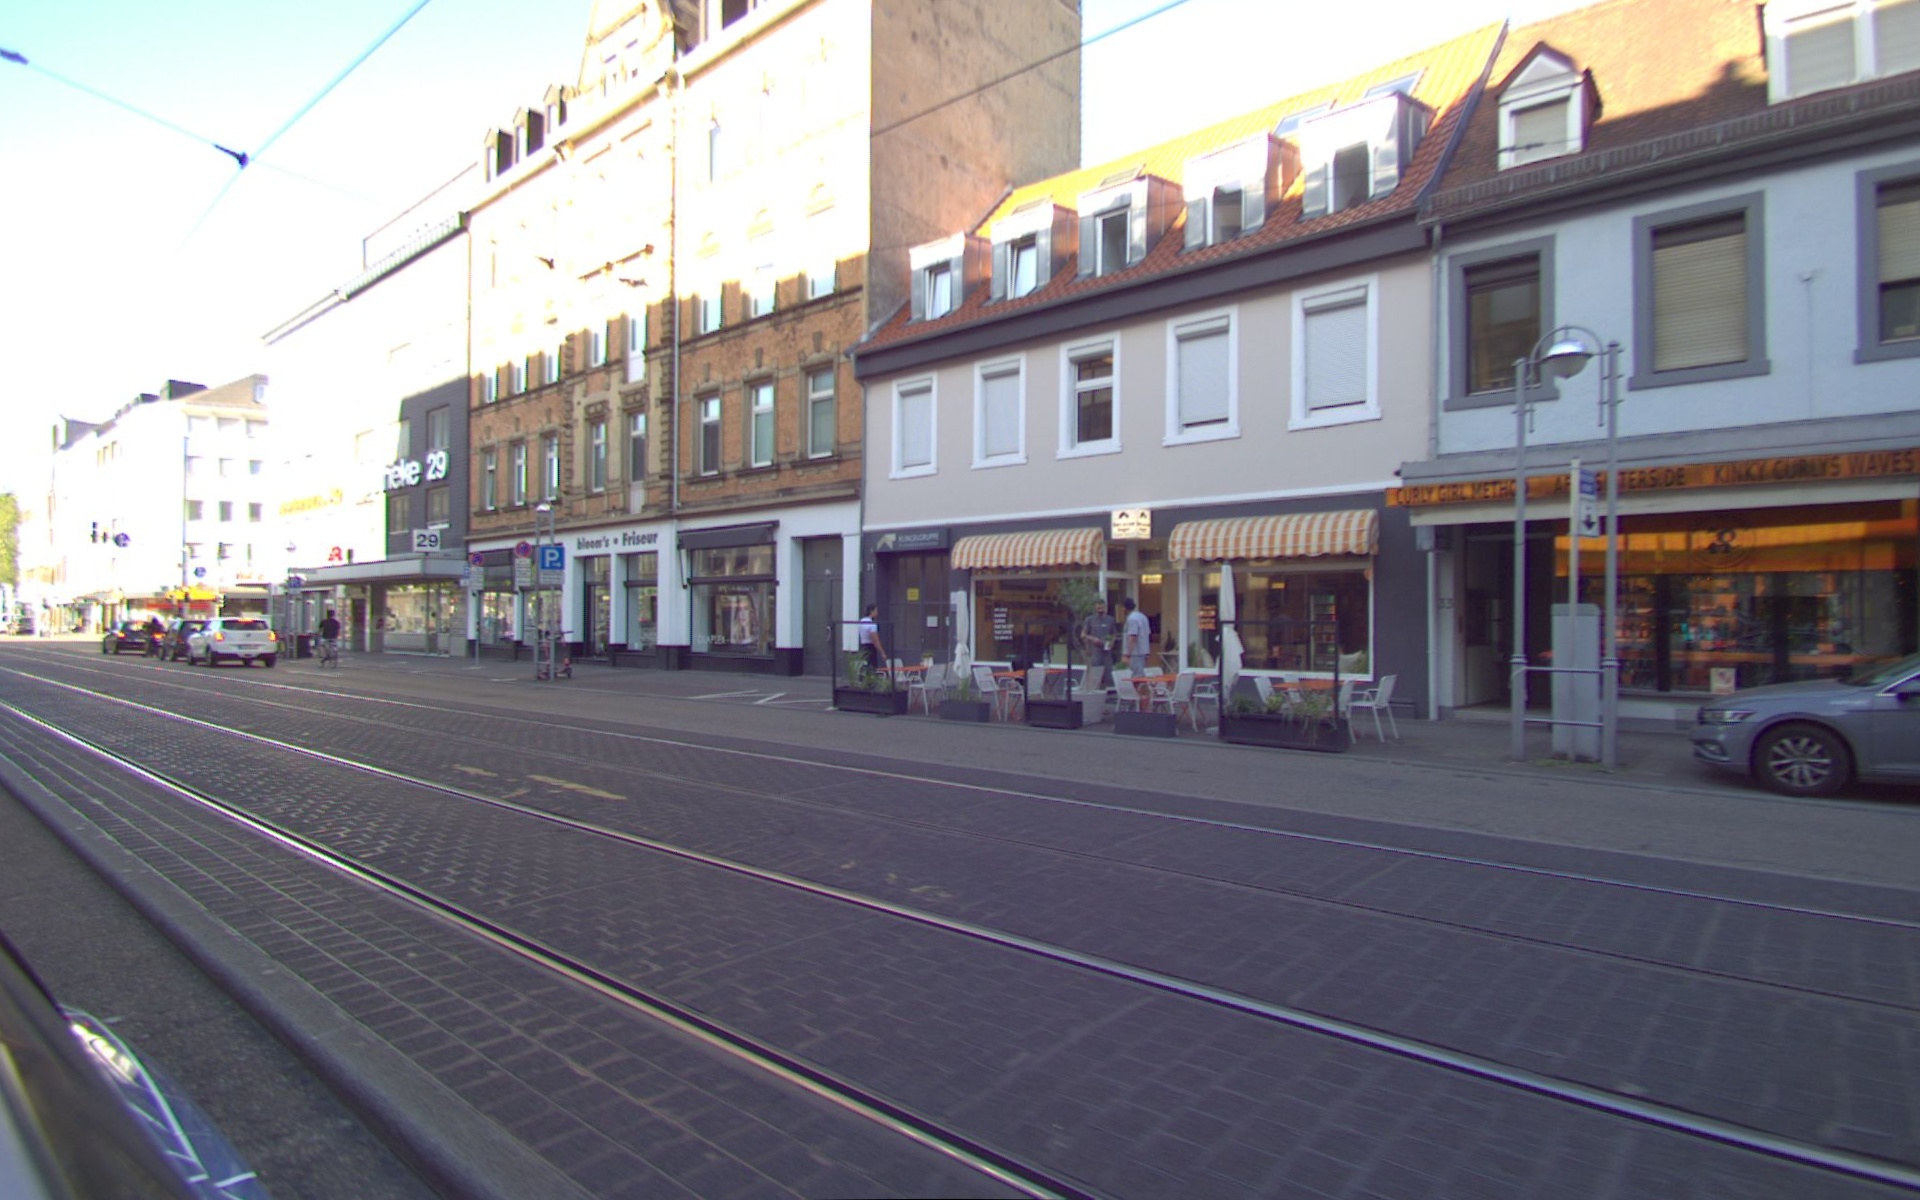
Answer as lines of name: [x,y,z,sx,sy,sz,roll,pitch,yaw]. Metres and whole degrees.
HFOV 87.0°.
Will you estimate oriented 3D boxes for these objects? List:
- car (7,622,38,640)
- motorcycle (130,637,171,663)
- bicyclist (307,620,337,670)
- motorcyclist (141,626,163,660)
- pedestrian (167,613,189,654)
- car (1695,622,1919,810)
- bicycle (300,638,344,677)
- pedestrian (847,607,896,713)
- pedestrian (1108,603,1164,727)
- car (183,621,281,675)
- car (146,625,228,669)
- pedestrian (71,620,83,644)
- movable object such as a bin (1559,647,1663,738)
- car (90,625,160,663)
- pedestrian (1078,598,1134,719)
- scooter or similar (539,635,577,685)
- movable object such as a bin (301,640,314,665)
car: [-83.480,2.762,90.103,3.462,1.544,1.609,-1,-4,41]
motorcycle: [-32.209,1.973,40.258,1.934,1.000,0.895,-1,-3,41]
bicyclist: [-20.309,1.411,32.208,0.861,1.558,0.569,-1,0,41]
motorcyclist: [-32.187,1.709,40.321,0.655,1.313,0.533,-1,-3,41]
pedestrian: [-36.477,1.556,47.197,0.635,1.855,0.696,-1,0,41]
car: [9.149,0.964,8.428,4.760,1.526,1.798,-1,-1,41]
bicycle: [-20.329,1.803,32.226,2.099,1.157,0.602,-1,0,41]
pedestrian: [-1.571,1.049,18.004,0.572,1.819,0.660,-1,0,-37]
pedestrian: [2.617,0.944,15.025,0.580,1.775,0.651,-1,0,33]
car: [-23.582,1.519,32.757,3.674,1.647,1.779,-1,-2,41]
car: [-28.753,1.718,37.605,3.998,1.542,1.645,-1,-3,41]
pedestrian: [-73.796,2.684,84.547,0.620,1.965,0.661,-1,0,41]
movable object such as a bin: [8.339,1.158,12.973,1.029,1.071,0.693,-1,-2,41]
car: [-35.912,1.888,43.499,3.998,1.542,1.645,-1,-3,41]
pedestrian: [2.314,0.911,16.060,0.647,1.863,0.583,-1,0,-19]
scooter or similar: [-10.351,1.535,26.041,1.201,1.232,0.399,-1,0,41]
movable object such as a bin: [-26.026,2.092,40.346,0.467,0.955,0.321,-1,-2,41]
